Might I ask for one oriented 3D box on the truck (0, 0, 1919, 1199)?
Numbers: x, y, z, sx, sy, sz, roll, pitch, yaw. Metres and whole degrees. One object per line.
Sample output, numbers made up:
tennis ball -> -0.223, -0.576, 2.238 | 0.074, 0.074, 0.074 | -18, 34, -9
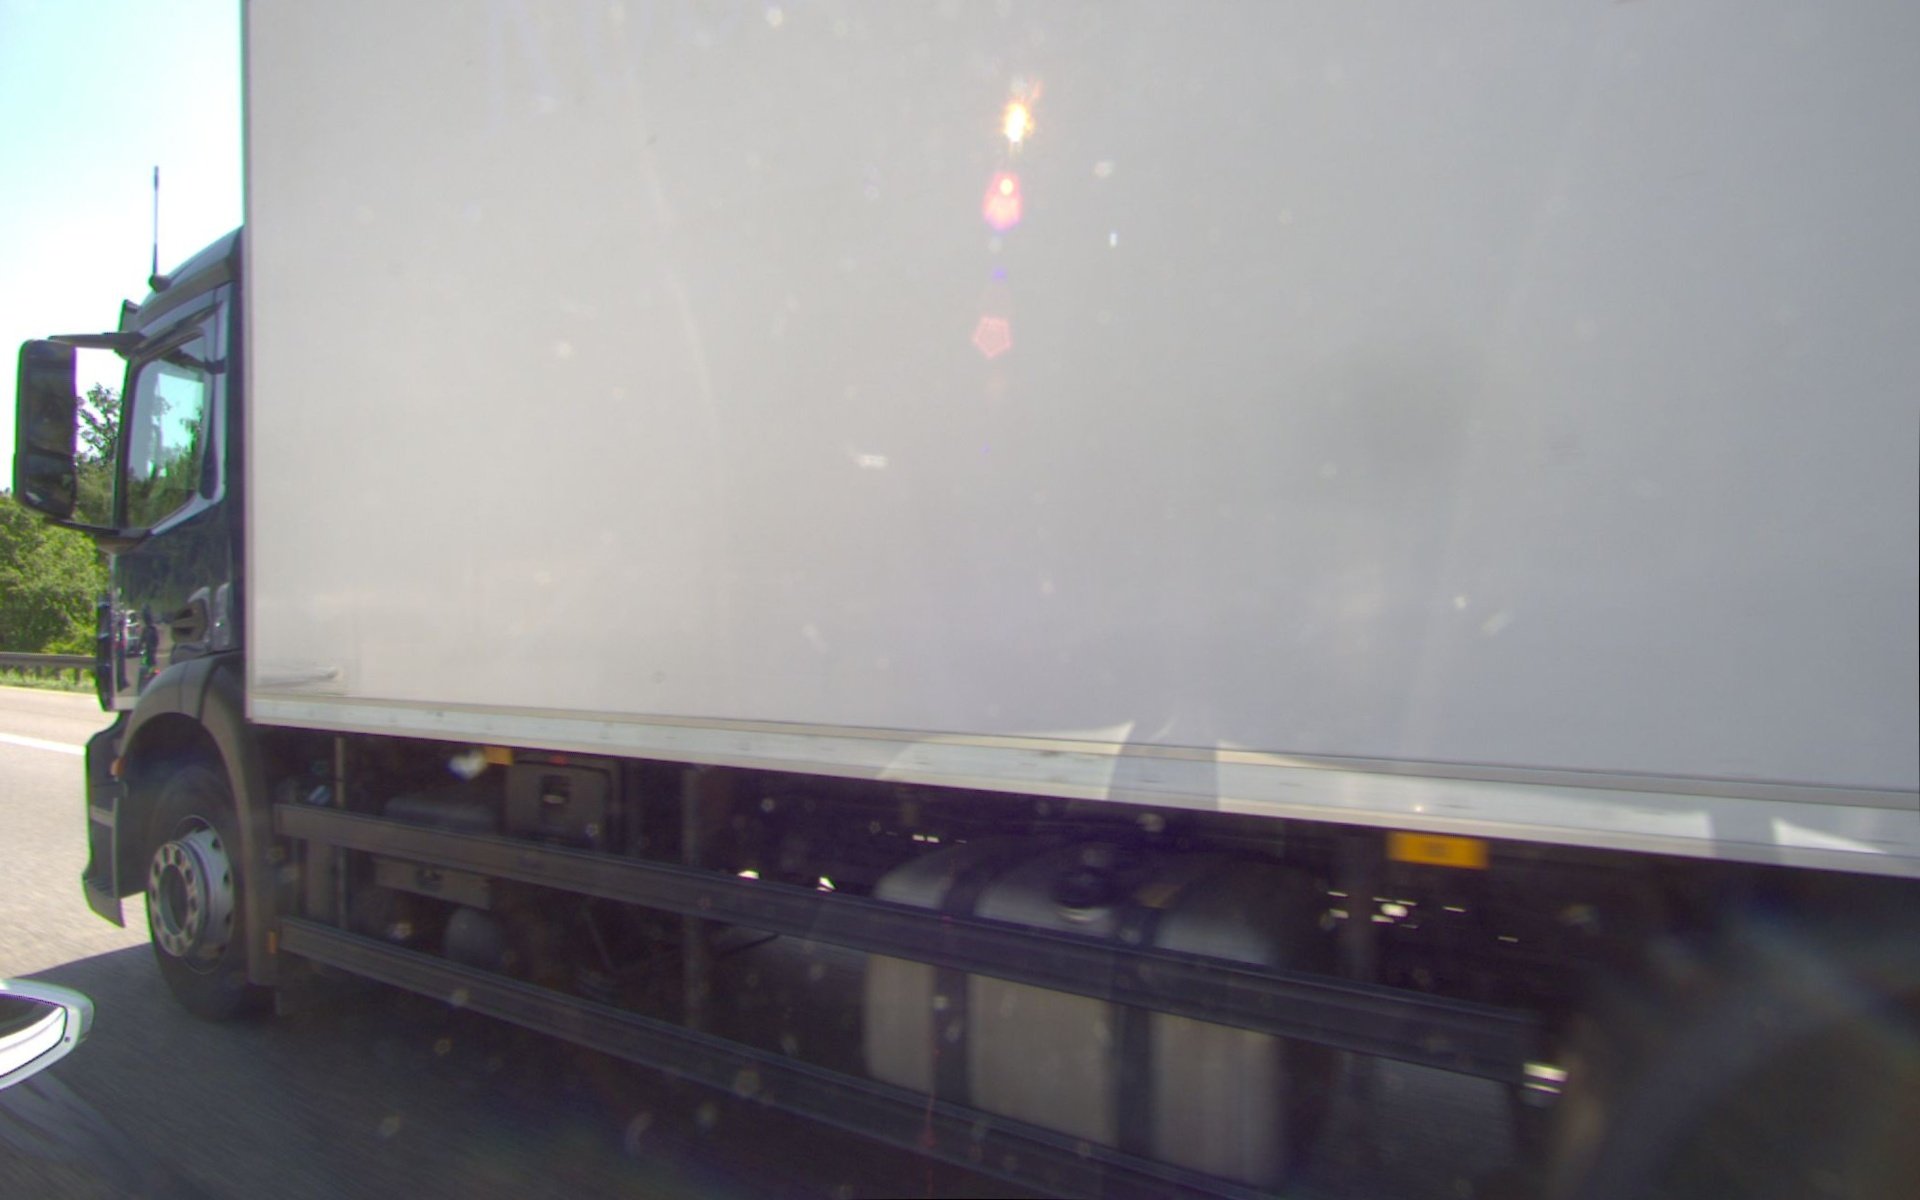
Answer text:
truck -> 0.393, -0.481, 3.042 | 9.640, 3.929, 2.681 | -1, 2, 32
